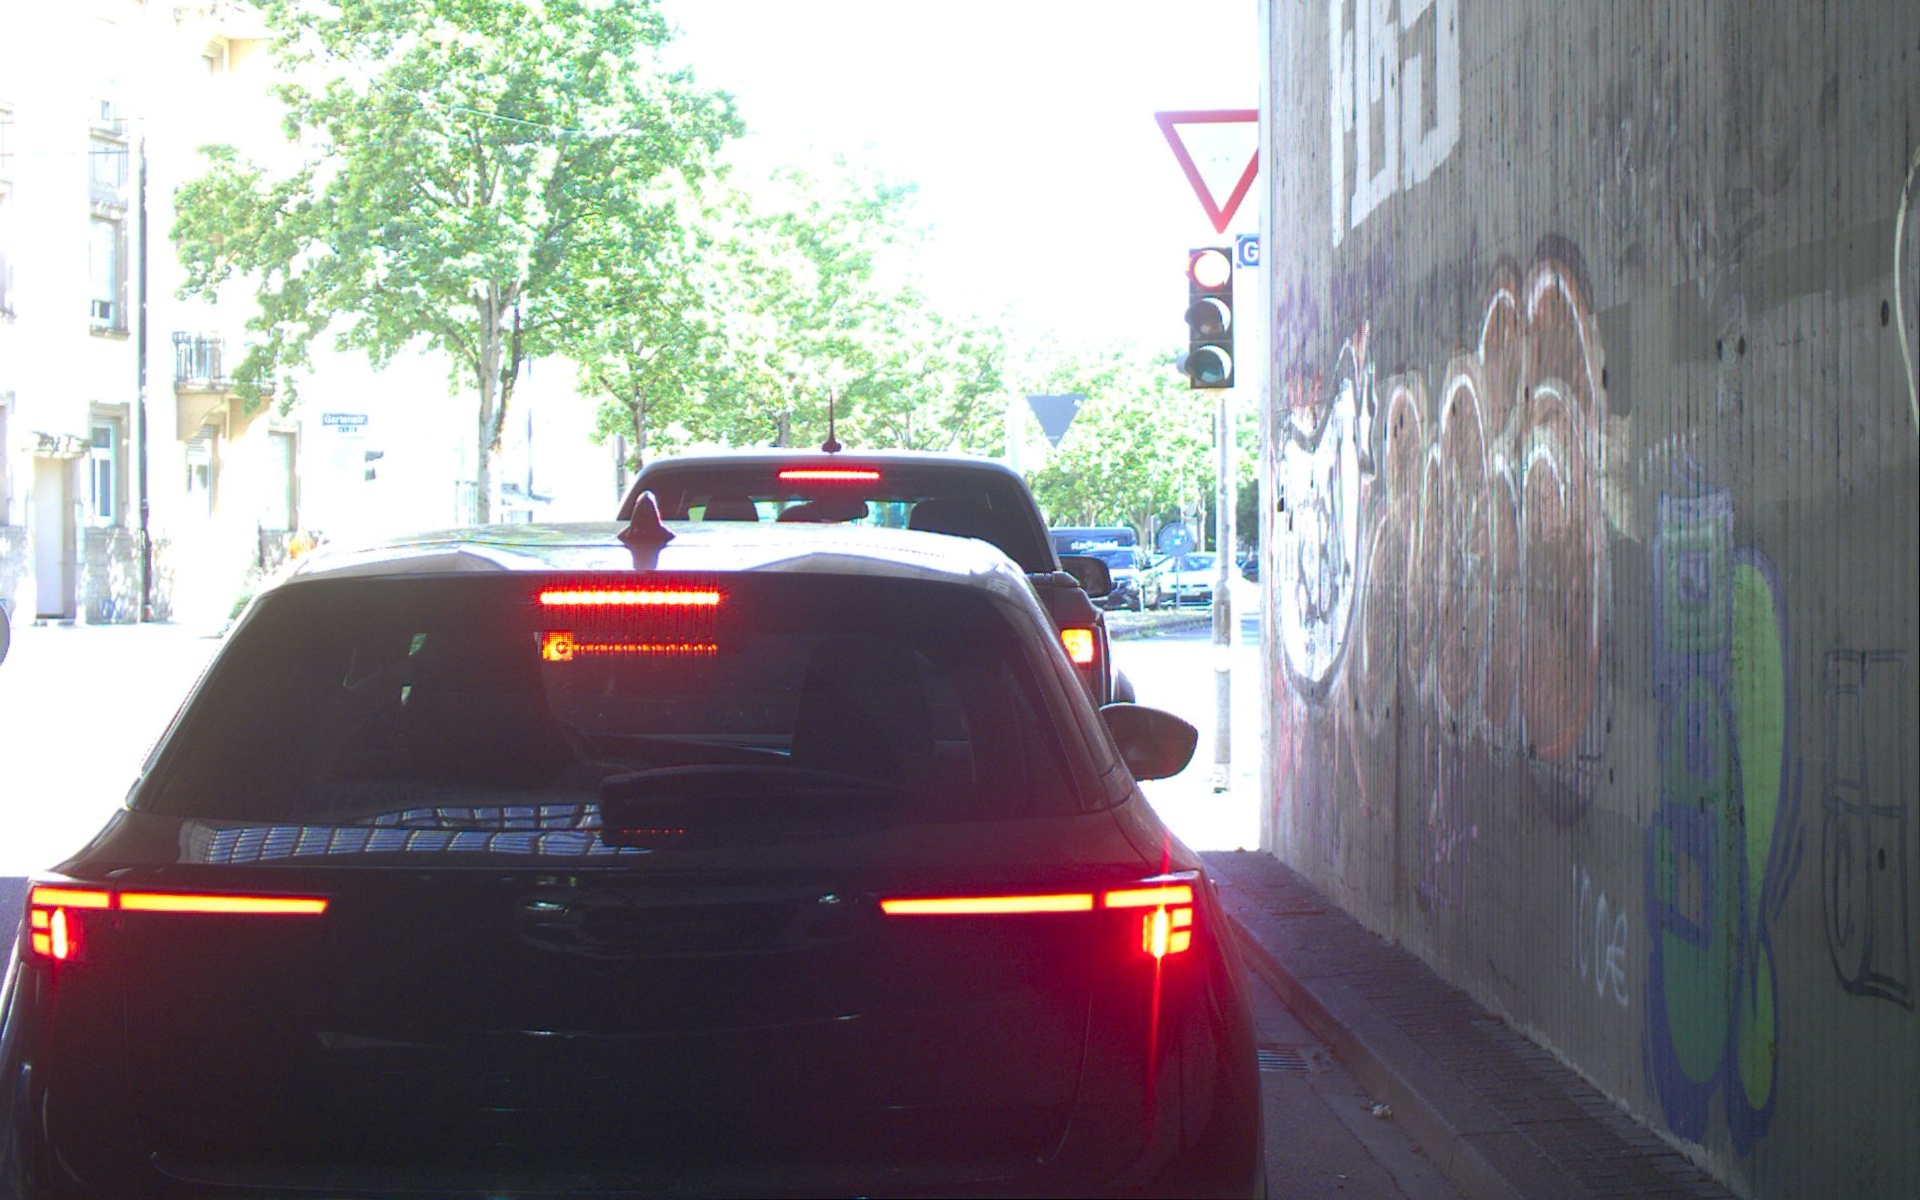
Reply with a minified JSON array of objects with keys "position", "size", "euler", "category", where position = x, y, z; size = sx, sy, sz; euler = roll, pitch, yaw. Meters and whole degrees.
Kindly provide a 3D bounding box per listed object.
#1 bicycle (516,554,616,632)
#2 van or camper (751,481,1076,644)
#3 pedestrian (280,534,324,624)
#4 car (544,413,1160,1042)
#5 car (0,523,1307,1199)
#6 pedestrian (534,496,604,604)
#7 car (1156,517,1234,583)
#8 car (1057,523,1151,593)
[{"position":[-5.864,-0.113,51.336],"size":[0.737,1.126,2.025],"euler":[0,1,17],"category":"bicycle"},{"position":[-0.559,-0.478,43.661],"size":[3.878,2.007,2.000],"euler":[0,1,7],"category":"van or camper"},{"position":[-12.508,-0.405,65.383],"size":[0.623,1.699,0.723],"euler":[1,0,6],"category":"pedestrian"},{"position":[-0.334,0.337,12.063],"size":[1.786,1.827,3.961],"euler":[1,1,0],"category":"car"},{"position":[-0.480,0.627,6.152],"size":[1.753,1.493,4.000],"euler":[1,1,0],"category":"car"},{"position":[-5.839,-0.746,51.411],"size":[0.736,1.579,0.889],"euler":[1,0,15],"category":"pedestrian"},{"position":[5.977,-1.274,87.215],"size":[1.584,1.634,3.804],"euler":[0,1,10],"category":"car"},{"position":[3.105,-0.906,73.545],"size":[1.599,1.447,3.794],"euler":[0,1,9],"category":"car"}]
